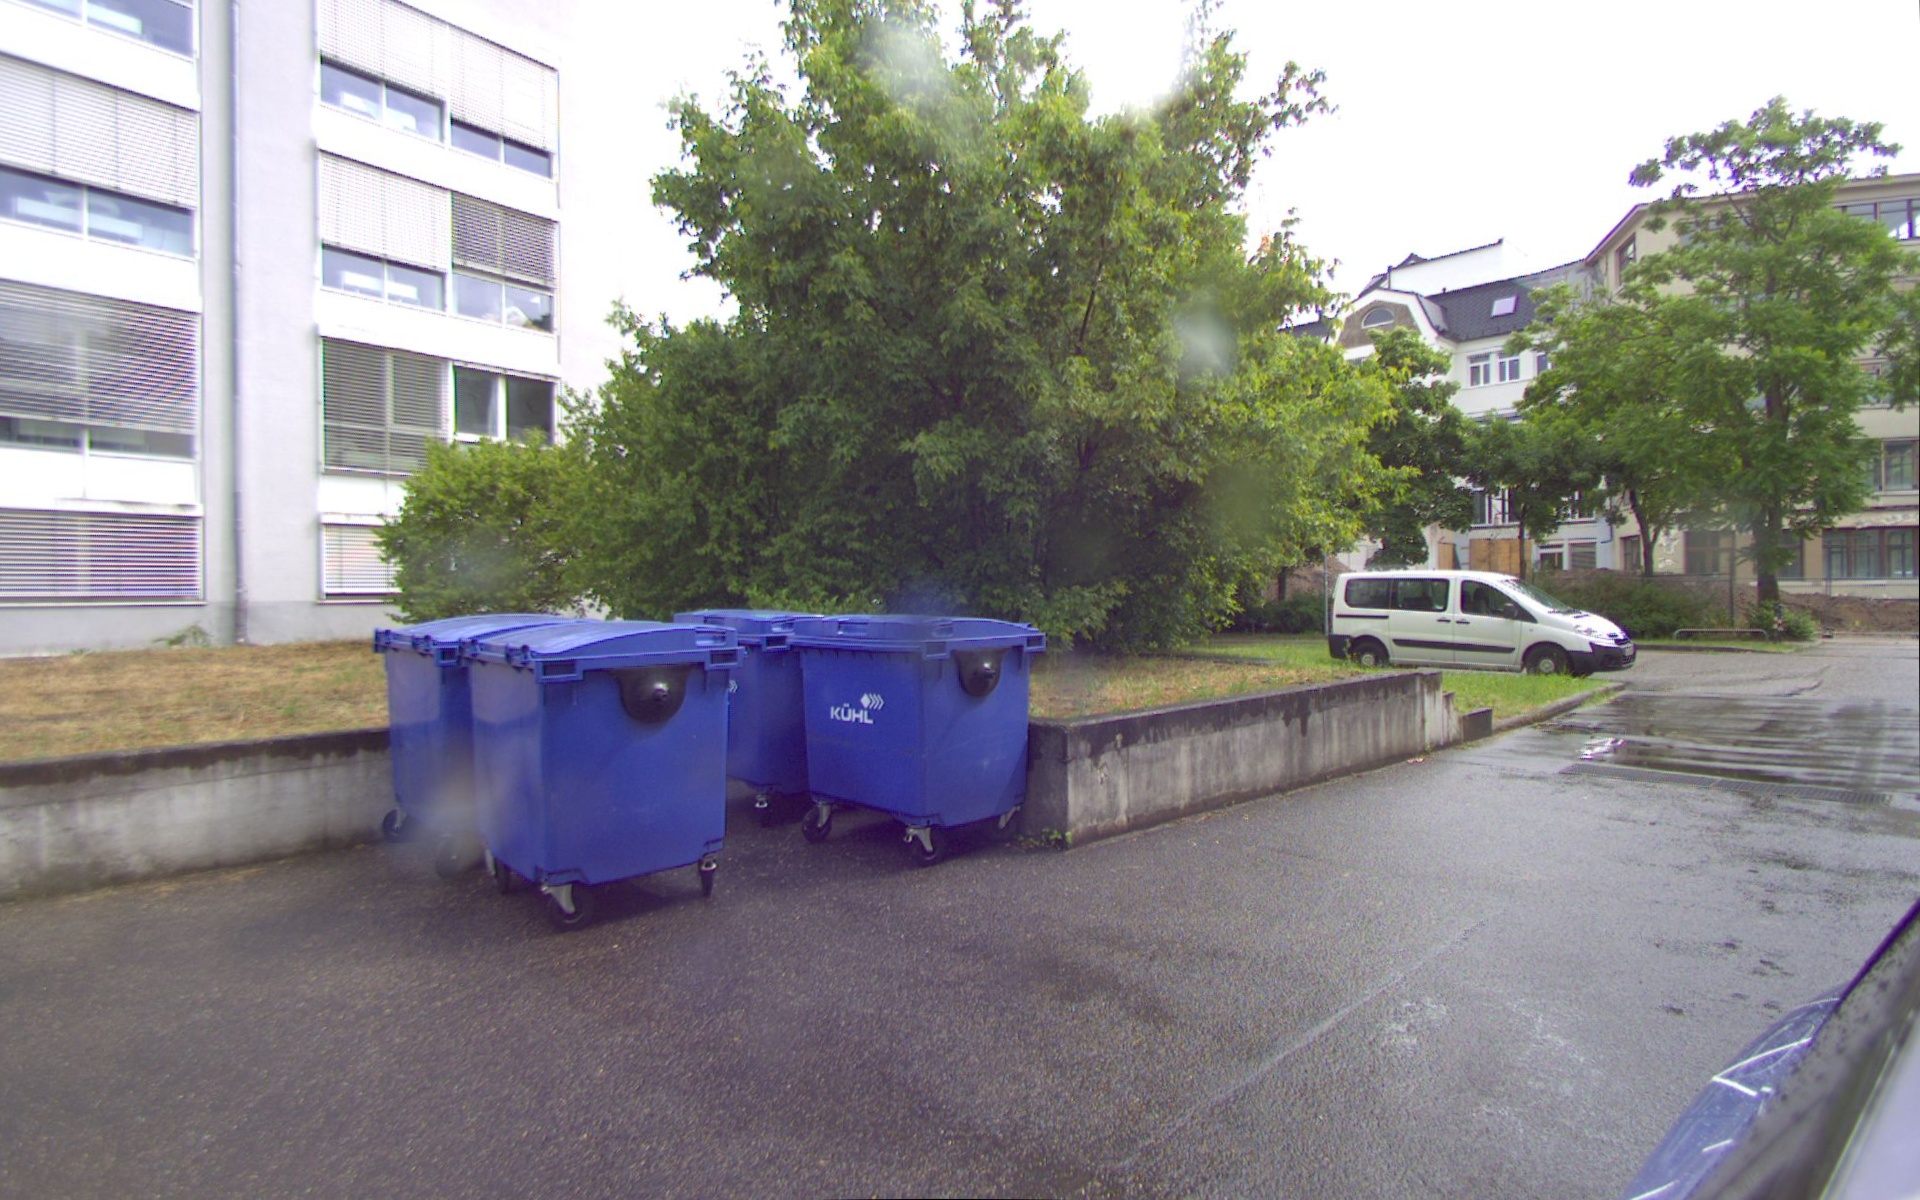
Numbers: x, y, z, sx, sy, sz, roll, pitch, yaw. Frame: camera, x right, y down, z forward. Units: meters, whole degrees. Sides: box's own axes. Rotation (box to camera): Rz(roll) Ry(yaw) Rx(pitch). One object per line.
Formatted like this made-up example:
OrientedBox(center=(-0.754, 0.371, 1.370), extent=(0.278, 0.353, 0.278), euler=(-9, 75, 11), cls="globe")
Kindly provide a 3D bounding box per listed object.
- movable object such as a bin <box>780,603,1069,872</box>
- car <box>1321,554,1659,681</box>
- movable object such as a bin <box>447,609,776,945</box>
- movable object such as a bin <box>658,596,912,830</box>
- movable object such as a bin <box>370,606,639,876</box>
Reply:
OrientedBox(center=(-0.225, 0.690, 5.919), extent=(1.077, 1.308, 1.339), euler=(-1, 1, -43), cls="movable object such as a bin")
OrientedBox(center=(9.242, 0.293, 17.993), extent=(2.064, 1.950, 4.878), euler=(-2, 0, -43), cls="car")
OrientedBox(center=(-1.735, 0.726, 4.974), extent=(1.065, 1.320, 1.373), euler=(-1, 1, -43), cls="movable object such as a bin")
OrientedBox(center=(-1.190, 0.661, 6.831), extent=(1.177, 1.353, 1.294), euler=(-1, 1, -43), cls="movable object such as a bin")
OrientedBox(center=(-2.657, 0.714, 5.892), extent=(1.089, 1.320, 1.186), euler=(-1, 1, -44), cls="movable object such as a bin")
